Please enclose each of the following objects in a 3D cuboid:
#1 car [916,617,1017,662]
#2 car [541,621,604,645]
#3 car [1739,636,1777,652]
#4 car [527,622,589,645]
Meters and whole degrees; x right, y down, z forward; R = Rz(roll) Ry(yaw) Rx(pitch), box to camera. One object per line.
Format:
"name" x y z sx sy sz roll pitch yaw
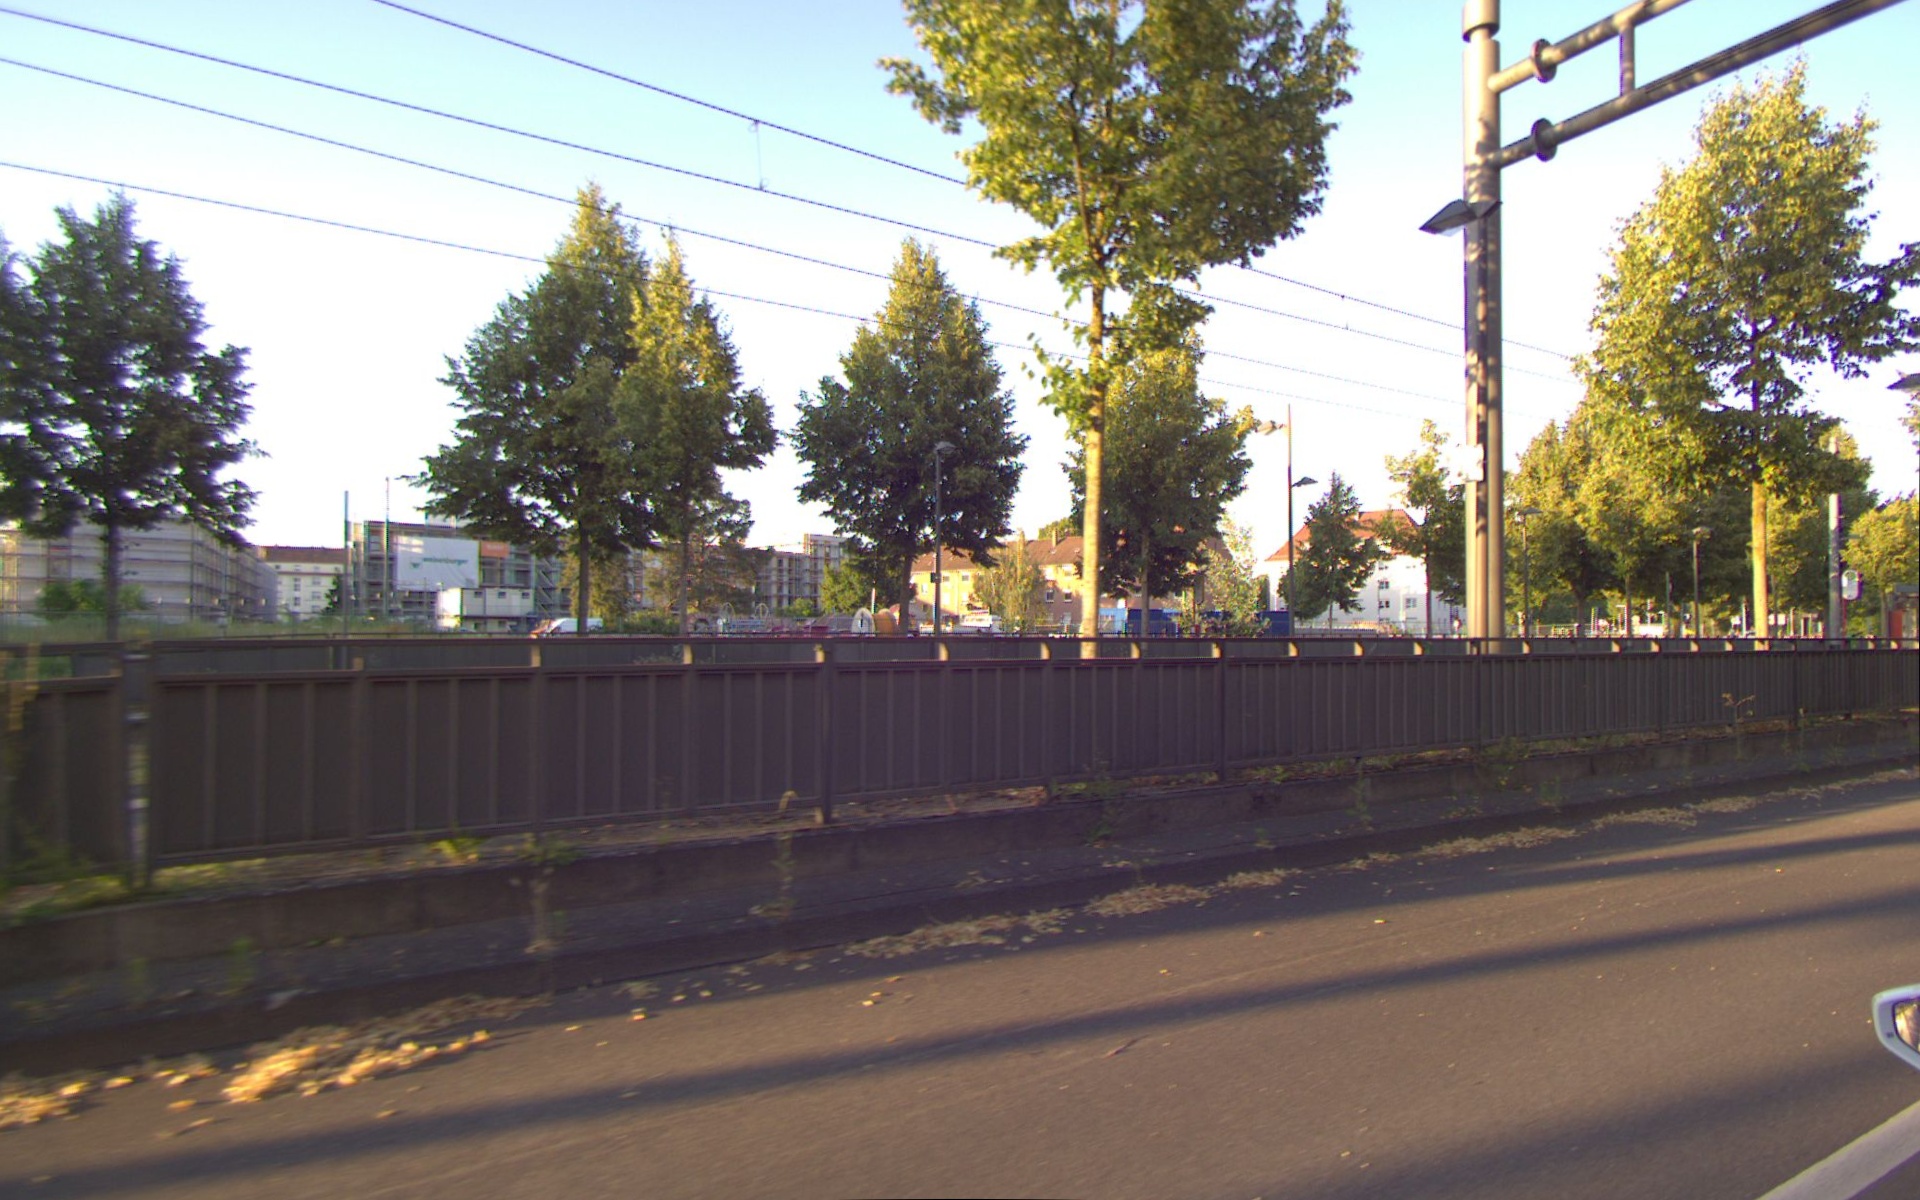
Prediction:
"car" 0.439 2.073 53.725 2.384 2.254 5.897 -1 -2 36
"car" -33.577 2.860 87.029 4.760 2.040 1.979 2 -2 -37
"car" 85.990 4.779 108.218 3.953 1.684 1.984 1 -2 -30
"car" -36.001 2.980 90.014 4.737 2.040 1.975 2 -2 -42
